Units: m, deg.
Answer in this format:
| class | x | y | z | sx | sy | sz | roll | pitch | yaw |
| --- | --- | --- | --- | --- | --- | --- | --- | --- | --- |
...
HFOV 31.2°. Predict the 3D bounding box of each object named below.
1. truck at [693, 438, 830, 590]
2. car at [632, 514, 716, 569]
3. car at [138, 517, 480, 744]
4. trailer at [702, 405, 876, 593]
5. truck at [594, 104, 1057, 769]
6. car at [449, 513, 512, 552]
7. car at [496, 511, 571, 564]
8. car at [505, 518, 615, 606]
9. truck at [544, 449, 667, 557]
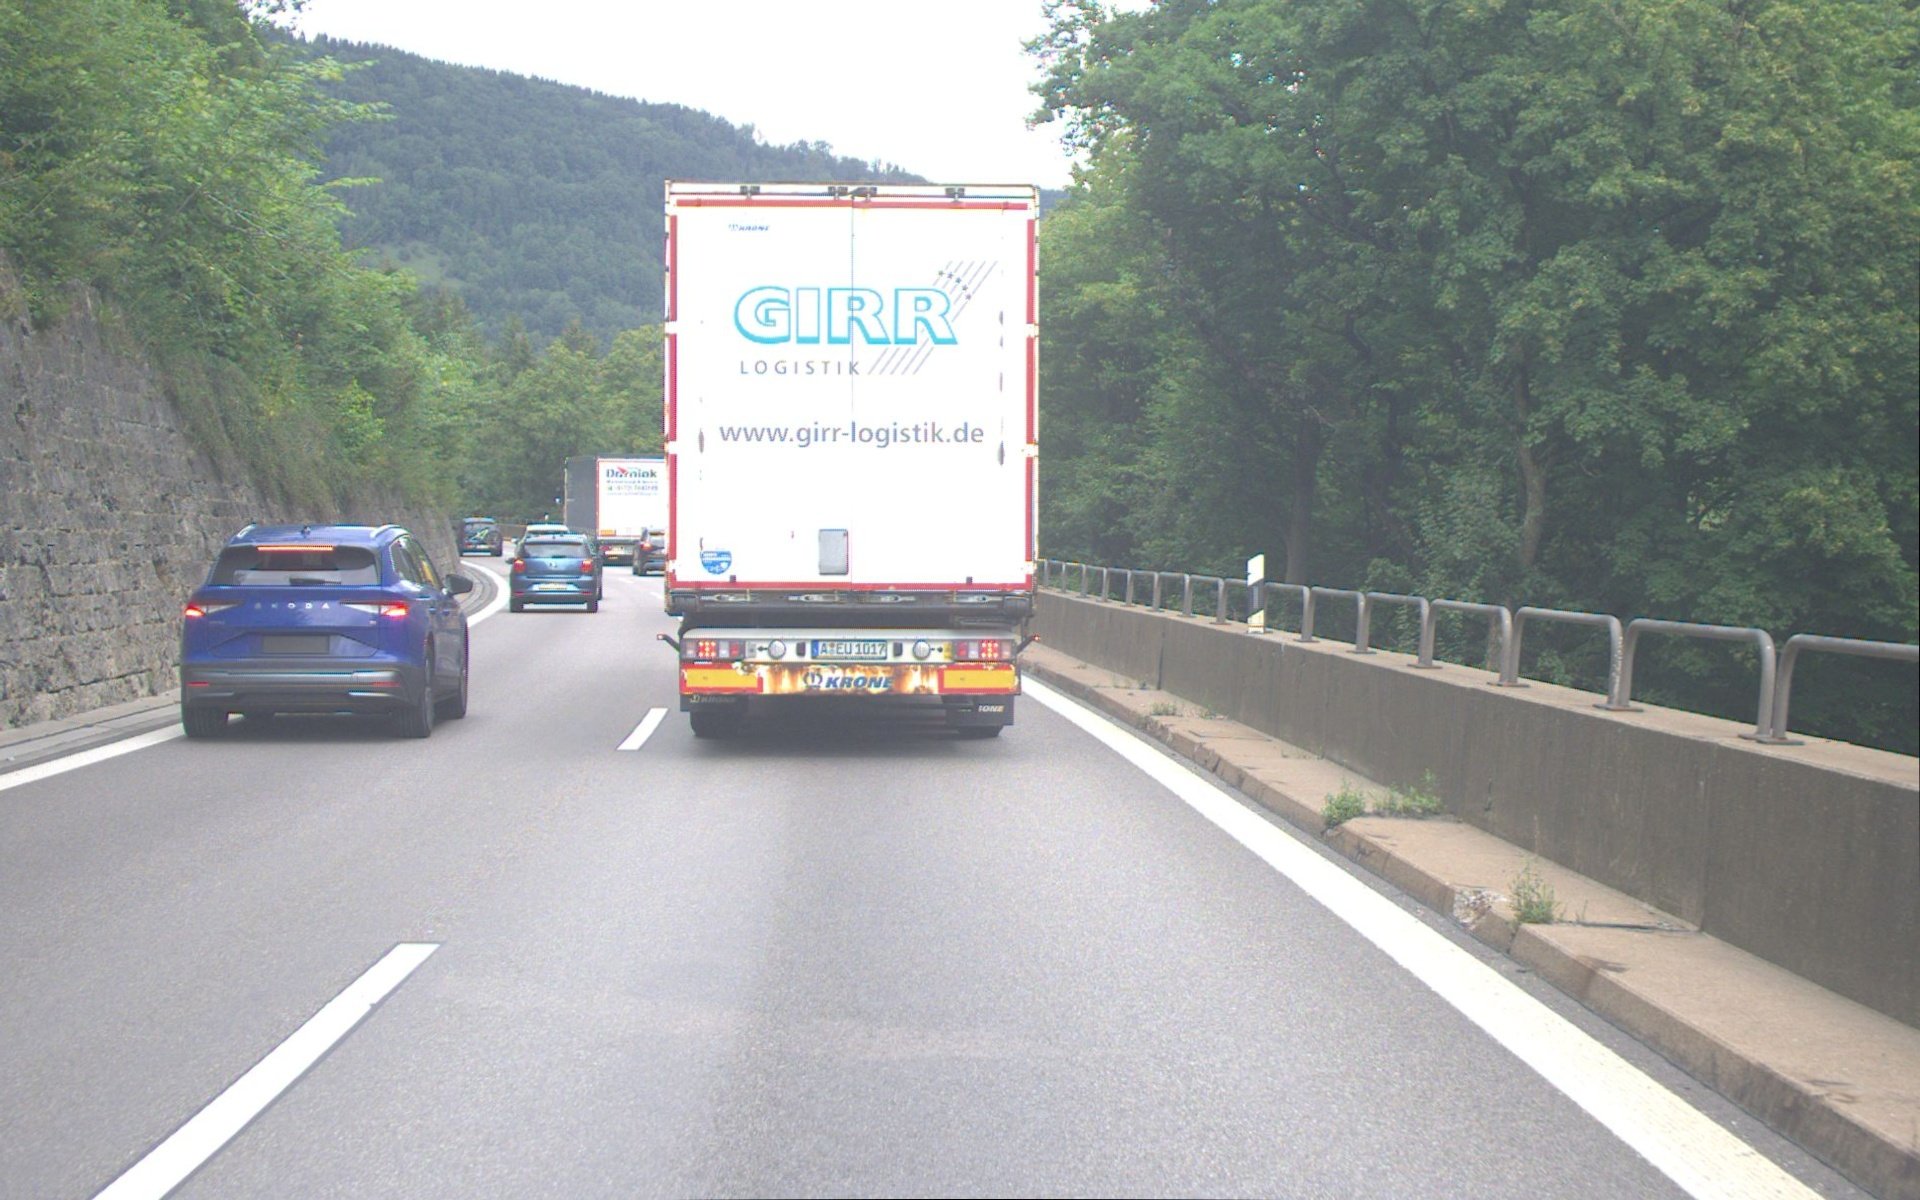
| class | x | y | z | sx | sy | sz | roll | pitch | yaw |
| --- | --- | --- | --- | --- | --- | --- | --- | --- | --- |
| truck | -3.950 | -1.677 | 67.490 | 2.208 | 2.841 | 5.005 | 1 | 1 | -8 |
| car | -8.902 | -1.834 | 106.748 | 2.060 | 1.648 | 4.001 | 0 | 1 | -13 |
| car | -5.049 | 0.171 | 27.321 | 1.993 | 1.626 | 5.009 | 0 | 1 | -3 |
| trailer | -3.199 | -1.761 | 61.617 | 2.211 | 3.037 | 11.142 | 1 | 1 | -7 |
| truck | -1.063 | -1.288 | 30.615 | 3.084 | 4.448 | 15.157 | 0 | 1 | -1 |
| car | -19.989 | -2.810 | 143.124 | 1.896 | 1.545 | 4.251 | 1 | 1 | -18 |
| car | -13.028 | -1.924 | 104.742 | 1.896 | 1.545 | 4.251 | 1 | 1 | -12 |
| car | -7.701 | -0.753 | 65.980 | 1.993 | 1.590 | 4.355 | 1 | 1 | -7 |
| truck | -13.328 | -3.603 | 128.281 | 2.633 | 3.844 | 12.363 | 0 | 1 | -15 |
